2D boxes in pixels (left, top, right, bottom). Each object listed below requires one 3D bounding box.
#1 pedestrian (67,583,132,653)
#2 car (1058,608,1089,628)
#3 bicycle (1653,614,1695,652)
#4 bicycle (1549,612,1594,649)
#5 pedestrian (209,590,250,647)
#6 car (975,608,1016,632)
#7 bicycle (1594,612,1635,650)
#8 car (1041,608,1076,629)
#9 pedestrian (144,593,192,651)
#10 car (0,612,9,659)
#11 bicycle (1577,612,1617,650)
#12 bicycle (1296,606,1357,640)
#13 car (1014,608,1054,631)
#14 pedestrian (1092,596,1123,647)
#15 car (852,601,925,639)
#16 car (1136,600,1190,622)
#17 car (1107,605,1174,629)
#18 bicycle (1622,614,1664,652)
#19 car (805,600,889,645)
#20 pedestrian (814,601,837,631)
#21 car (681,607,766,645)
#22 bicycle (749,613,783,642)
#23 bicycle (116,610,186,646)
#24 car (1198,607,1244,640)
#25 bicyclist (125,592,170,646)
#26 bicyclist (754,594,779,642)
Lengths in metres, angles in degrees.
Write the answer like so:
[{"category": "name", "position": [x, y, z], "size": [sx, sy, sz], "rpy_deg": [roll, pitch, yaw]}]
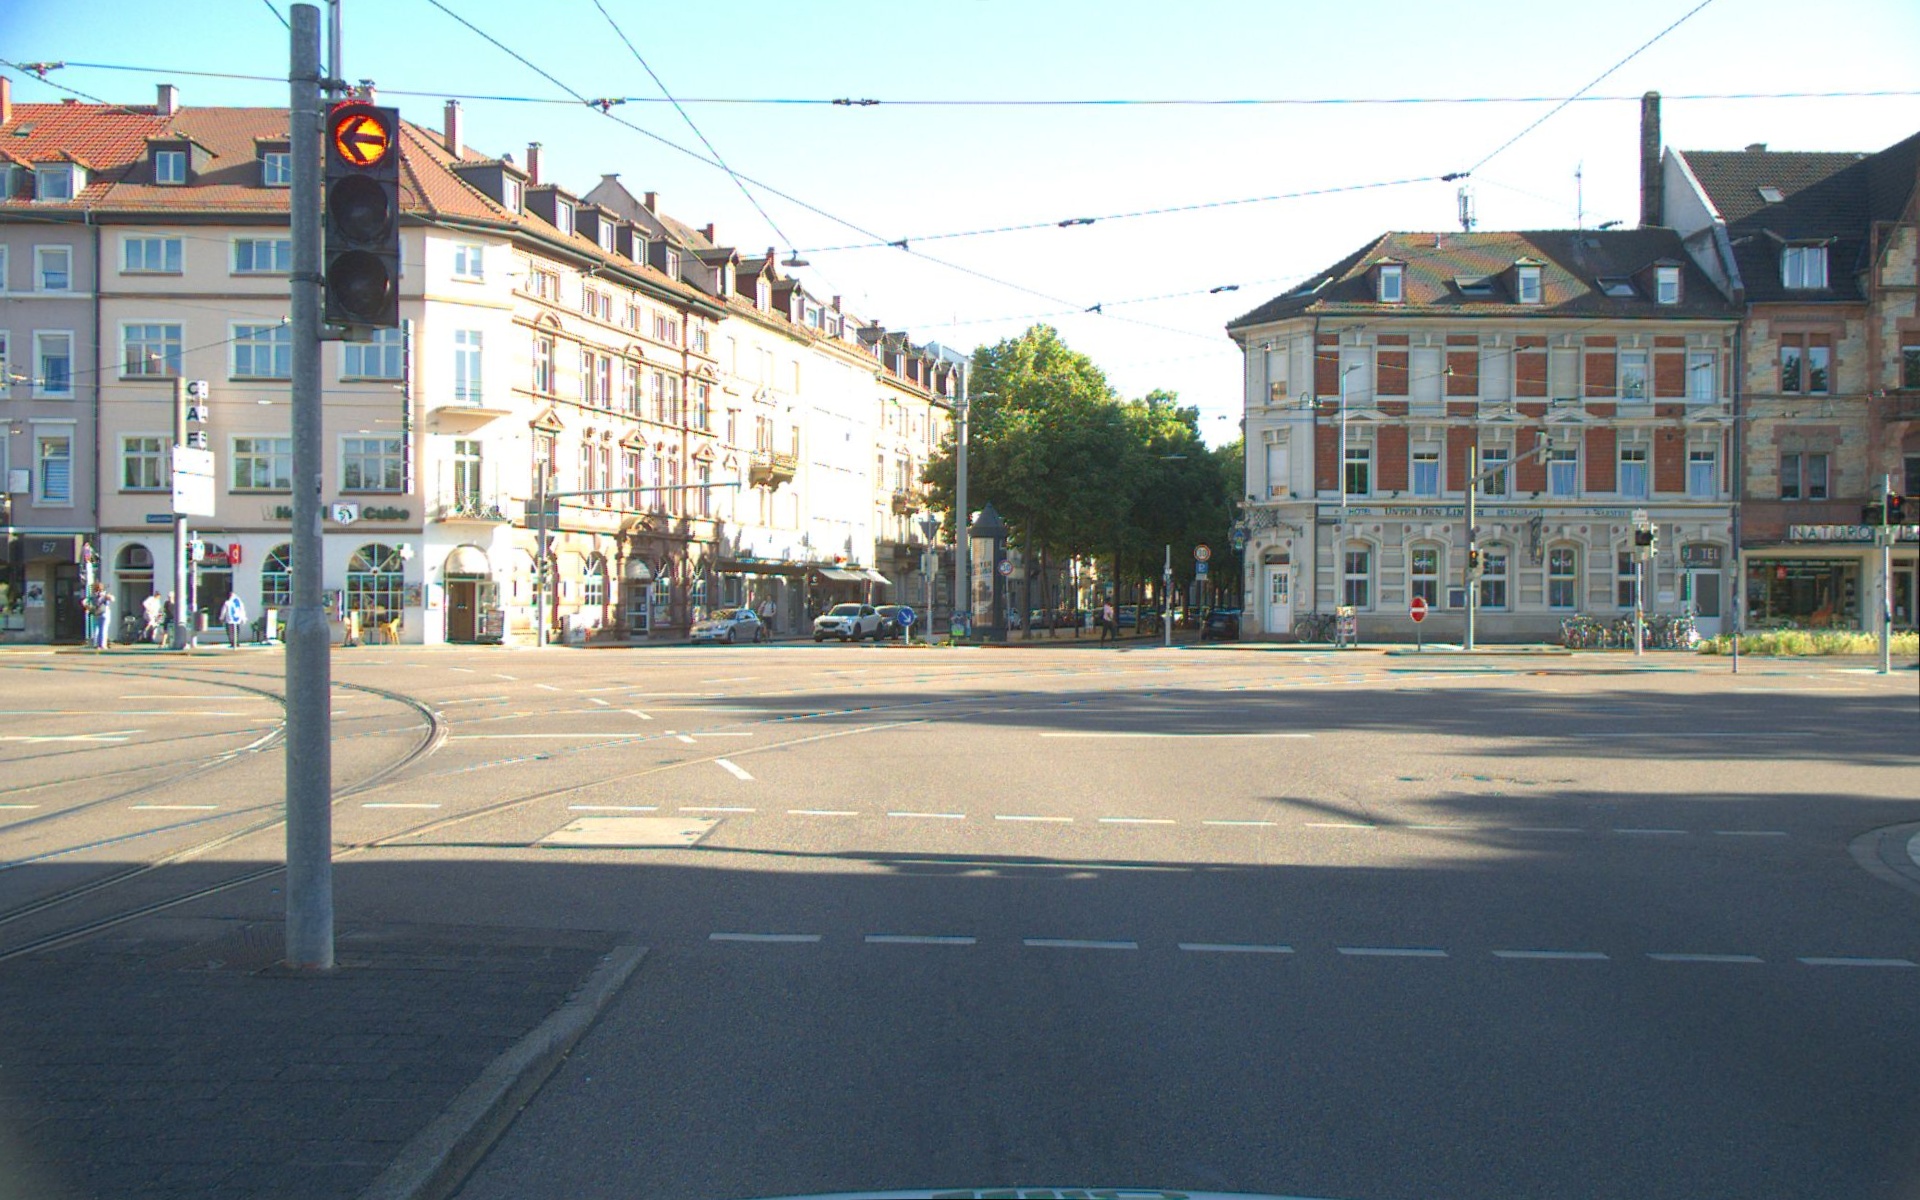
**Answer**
[{"category": "pedestrian", "position": [-21.569, 0.445, 41.489], "size": [1.058, 1.714, 1.103], "rpy_deg": [0, 0, -1]}, {"category": "car", "position": [9.392, 1.454, 136.458], "size": [1.727, 1.576, 4.394], "rpy_deg": [0, 0, 16]}, {"category": "bicycle", "position": [23.035, 1.055, 53.393], "size": [0.596, 1.156, 2.136], "rpy_deg": [0, 0, 4]}, {"category": "bicycle", "position": [19.820, 0.985, 53.653], "size": [0.789, 1.163, 2.175], "rpy_deg": [0, 0, 4]}, {"category": "pedestrian", "position": [-23.147, 0.577, 52.423], "size": [0.999, 1.806, 0.929], "rpy_deg": [0, 0, -38]}, {"category": "car", "position": [2.411, 1.318, 110.985], "size": [1.951, 1.512, 4.003], "rpy_deg": [0, 0, 13]}, {"category": "bicycle", "position": [21.163, 0.989, 53.504], "size": [0.605, 1.163, 2.175], "rpy_deg": [0, 0, 4]}, {"category": "car", "position": [7.779, 1.415, 130.557], "size": [1.798, 1.579, 4.393], "rpy_deg": [0, 0, 16]}, {"category": "pedestrian", "position": [-24.894, 0.681, 52.002], "size": [0.985, 1.806, 0.942], "rpy_deg": [0, 0, 14]}, {"category": "car", "position": [-32.400, 1.140, 51.941], "size": [3.907, 1.478, 1.999], "rpy_deg": [0, 0, -3]}, {"category": "bicycle", "position": [20.592, 0.995, 53.534], "size": [0.605, 1.163, 2.175], "rpy_deg": [0, 0, 4]}, {"category": "bicycle", "position": [12.750, 0.814, 57.578], "size": [2.045, 1.144, 0.366], "rpy_deg": [1, -1, -5]}, {"category": "car", "position": [5.526, 1.418, 122.733], "size": [1.951, 1.640, 4.393], "rpy_deg": [0, 0, 17]}, {"category": "pedestrian", "position": [5.153, 0.749, 57.641], "size": [1.024, 1.774, 0.809], "rpy_deg": [0, 0, 8]}, {"category": "car", "position": [-3.149, 0.857, 73.783], "size": [1.951, 1.640, 4.393], "rpy_deg": [0, 0, 17]}, {"category": "car", "position": [16.418, 0.877, 133.868], "size": [3.912, 1.736, 1.996], "rpy_deg": [0, 0, 30]}, {"category": "car", "position": [12.602, 1.192, 115.581], "size": [4.290, 1.640, 1.998], "rpy_deg": [0, 0, 26]}, {"category": "bicycle", "position": [22.071, 1.051, 53.445], "size": [0.605, 1.163, 2.175], "rpy_deg": [0, 0, 4]}, {"category": "car", "position": [-4.544, 0.880, 67.248], "size": [1.951, 1.713, 4.393], "rpy_deg": [0, 0, 17]}, {"category": "pedestrian", "position": [-7.049, 0.851, 86.888], "size": [0.908, 1.562, 1.138], "rpy_deg": [0, 0, 13]}, {"category": "car", "position": [-9.527, 1.031, 66.895], "size": [1.858, 1.481, 4.002], "rpy_deg": [0, 0, 17]}, {"category": "bicycle", "position": [-7.597, 1.077, 64.885], "size": [0.665, 1.085, 2.127], "rpy_deg": [0, 0, 12]}, {"category": "bicycle", "position": [-27.293, 0.950, 55.818], "size": [2.048, 1.202, 0.631], "rpy_deg": [0, 0, -1]}, {"category": "car", "position": [13.069, 1.155, 82.629], "size": [1.951, 1.613, 4.003], "rpy_deg": [0, 0, 13]}, {"category": "bicyclist", "position": [-27.368, 0.627, 55.745], "size": [1.142, 1.806, 0.748], "rpy_deg": [0, 0, -2]}, {"category": "bicyclist", "position": [-7.586, 0.690, 64.927], "size": [0.664, 1.852, 1.071], "rpy_deg": [0, 0, 12]}]
